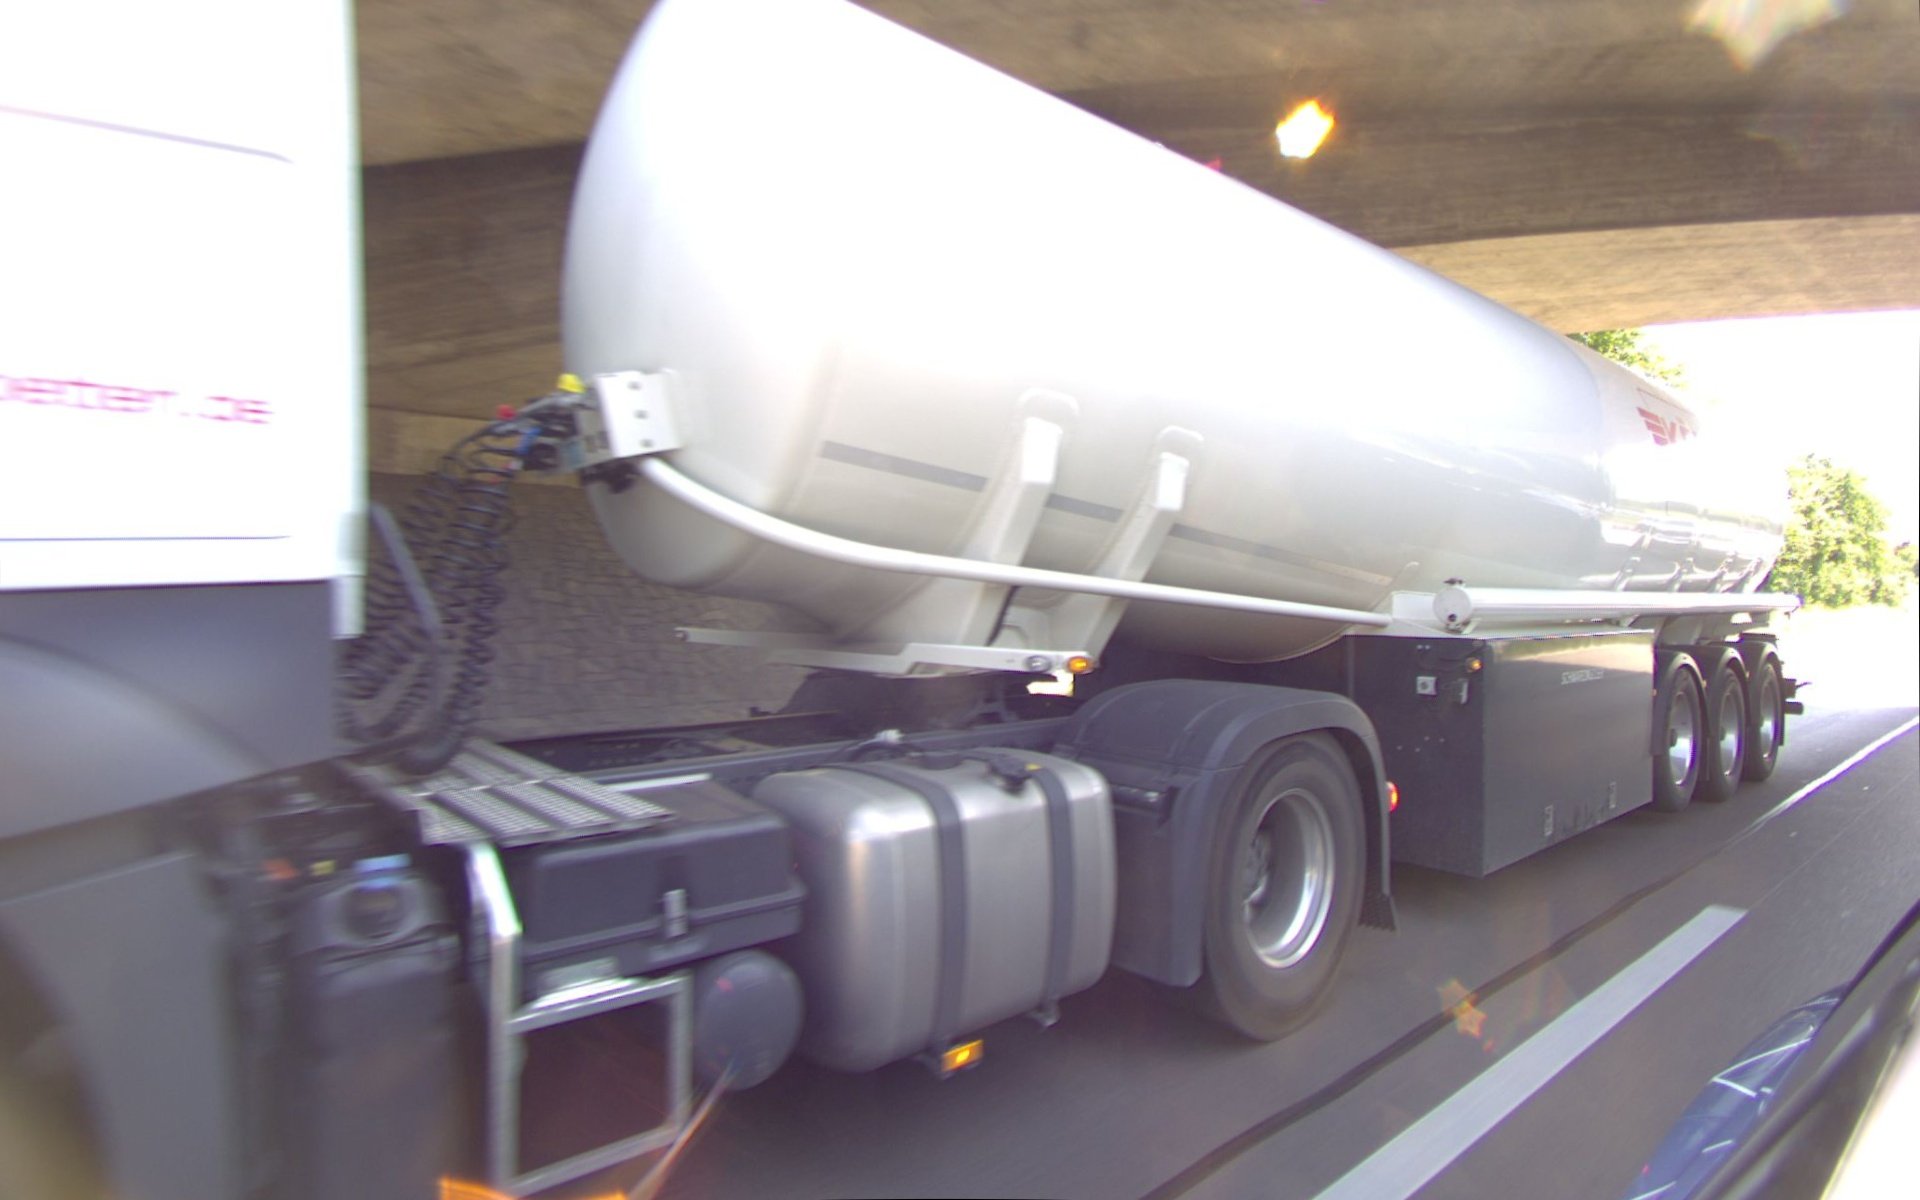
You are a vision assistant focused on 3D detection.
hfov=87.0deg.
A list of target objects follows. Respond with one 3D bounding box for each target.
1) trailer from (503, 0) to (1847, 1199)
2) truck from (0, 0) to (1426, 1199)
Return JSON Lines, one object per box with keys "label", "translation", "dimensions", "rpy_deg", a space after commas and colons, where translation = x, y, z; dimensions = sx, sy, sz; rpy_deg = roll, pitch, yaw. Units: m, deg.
{"label": "trailer", "translation": [3.098, -0.300, 6.768], "dimensions": [10.954, 3.432, 2.653], "rpy_deg": [0, 0, -40]}
{"label": "truck", "translation": [-1.493, -0.283, 2.761], "dimensions": [6.374, 3.417, 2.642], "rpy_deg": [0, 0, -41]}
